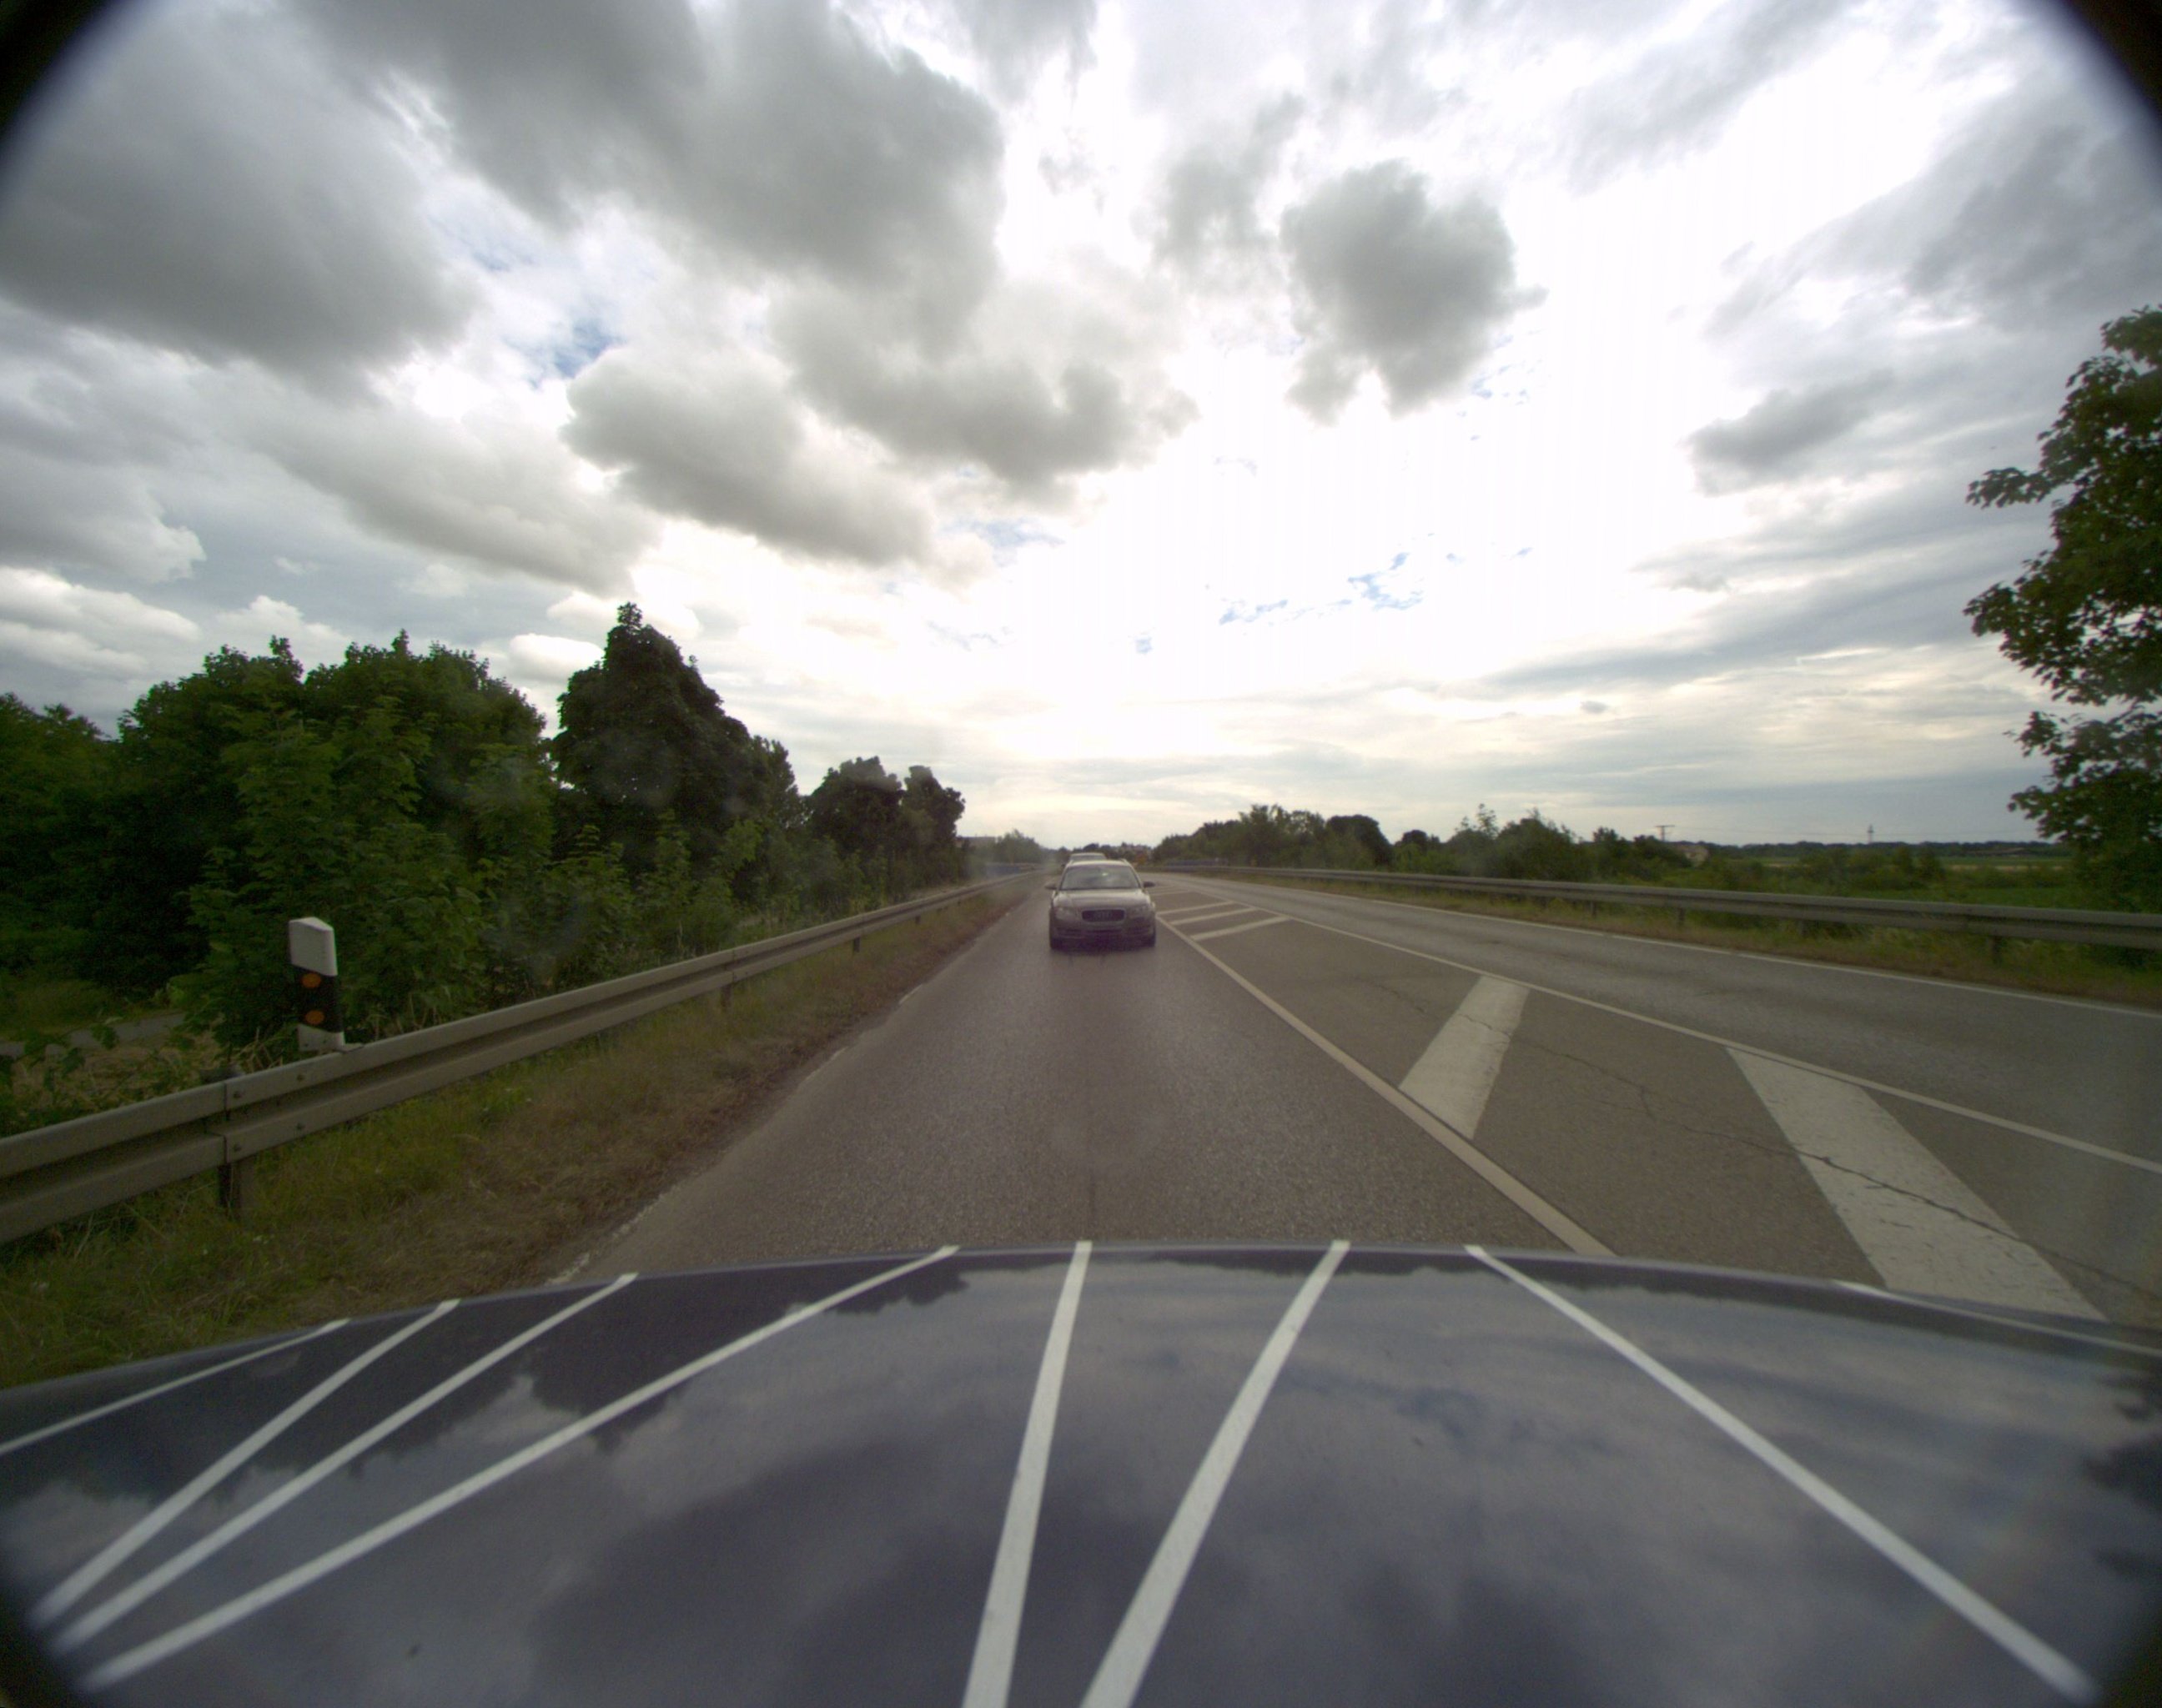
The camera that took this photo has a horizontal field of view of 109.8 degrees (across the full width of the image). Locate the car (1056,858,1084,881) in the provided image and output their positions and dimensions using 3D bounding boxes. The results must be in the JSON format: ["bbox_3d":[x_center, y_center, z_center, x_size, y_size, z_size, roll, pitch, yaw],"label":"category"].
[{"bbox_3d":[-0.682,0.967,48.865,1.670,1.339,3.999,-2,0,-1],"label":"car"}]

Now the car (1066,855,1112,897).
[{"bbox_3d":[0.312,0.803,29.940,1.603,1.494,3.962,-2,0,0],"label":"car"}]

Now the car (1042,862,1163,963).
[{"bbox_3d":[0.298,0.904,13.340,1.768,1.383,3.875,-2,1,-1],"label":"car"}]
